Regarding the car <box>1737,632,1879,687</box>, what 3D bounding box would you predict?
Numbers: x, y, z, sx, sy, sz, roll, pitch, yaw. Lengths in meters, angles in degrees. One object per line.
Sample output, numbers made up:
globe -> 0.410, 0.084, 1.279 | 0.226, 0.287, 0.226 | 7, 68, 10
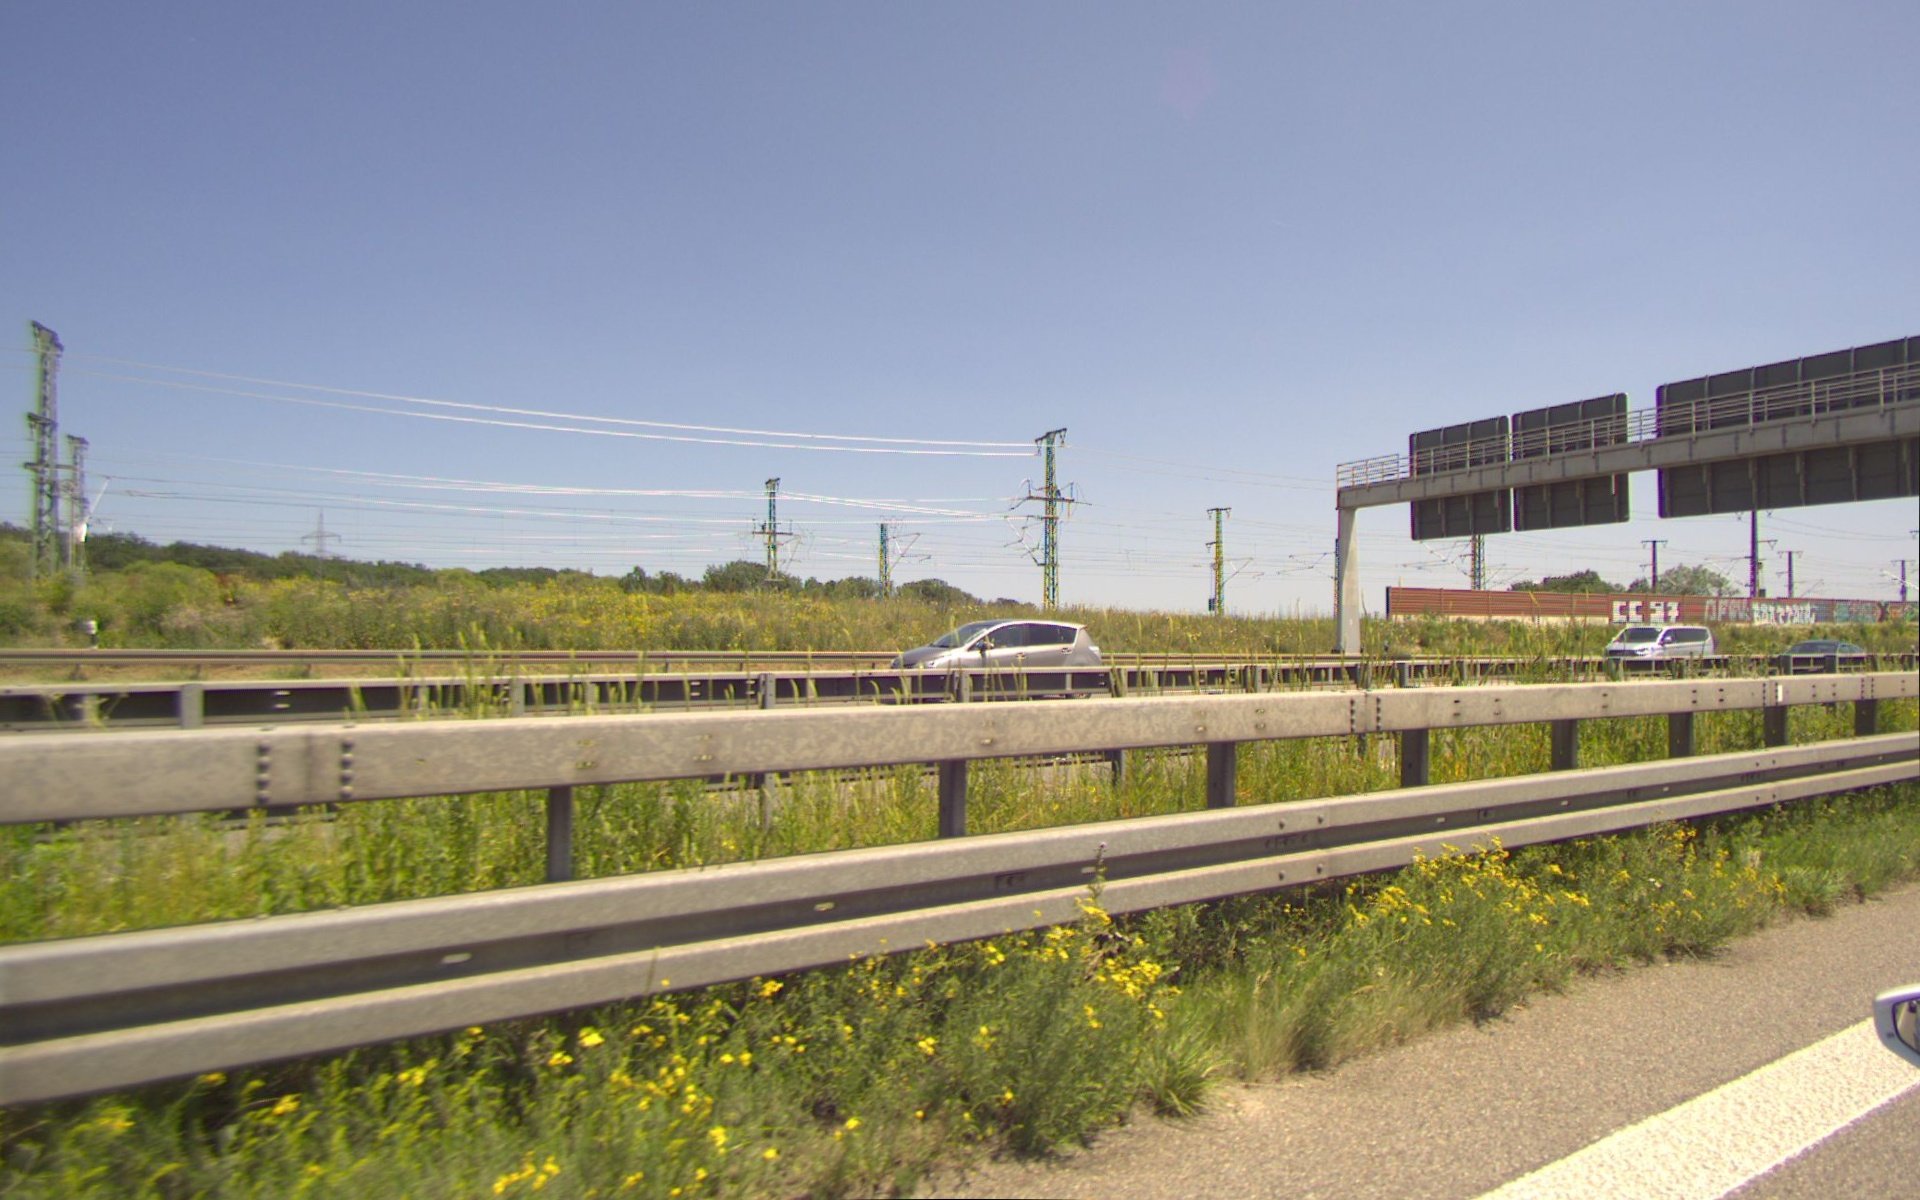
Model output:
car -> 27.165, 1.878, 32.154 | 4.420, 1.597, 1.986 | 2, -1, -28

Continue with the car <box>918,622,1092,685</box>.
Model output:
car -> 1.261, 1.457, 27.758 | 4.423, 1.597, 1.985 | 2, -1, -29

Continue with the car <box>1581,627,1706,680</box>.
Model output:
car -> 26.742, 2.050, 39.265 | 4.915, 1.911, 1.985 | 1, -1, -28

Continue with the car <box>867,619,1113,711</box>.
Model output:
car -> 0.613, 1.227, 19.656 | 4.423, 1.597, 1.985 | 2, -1, -29
